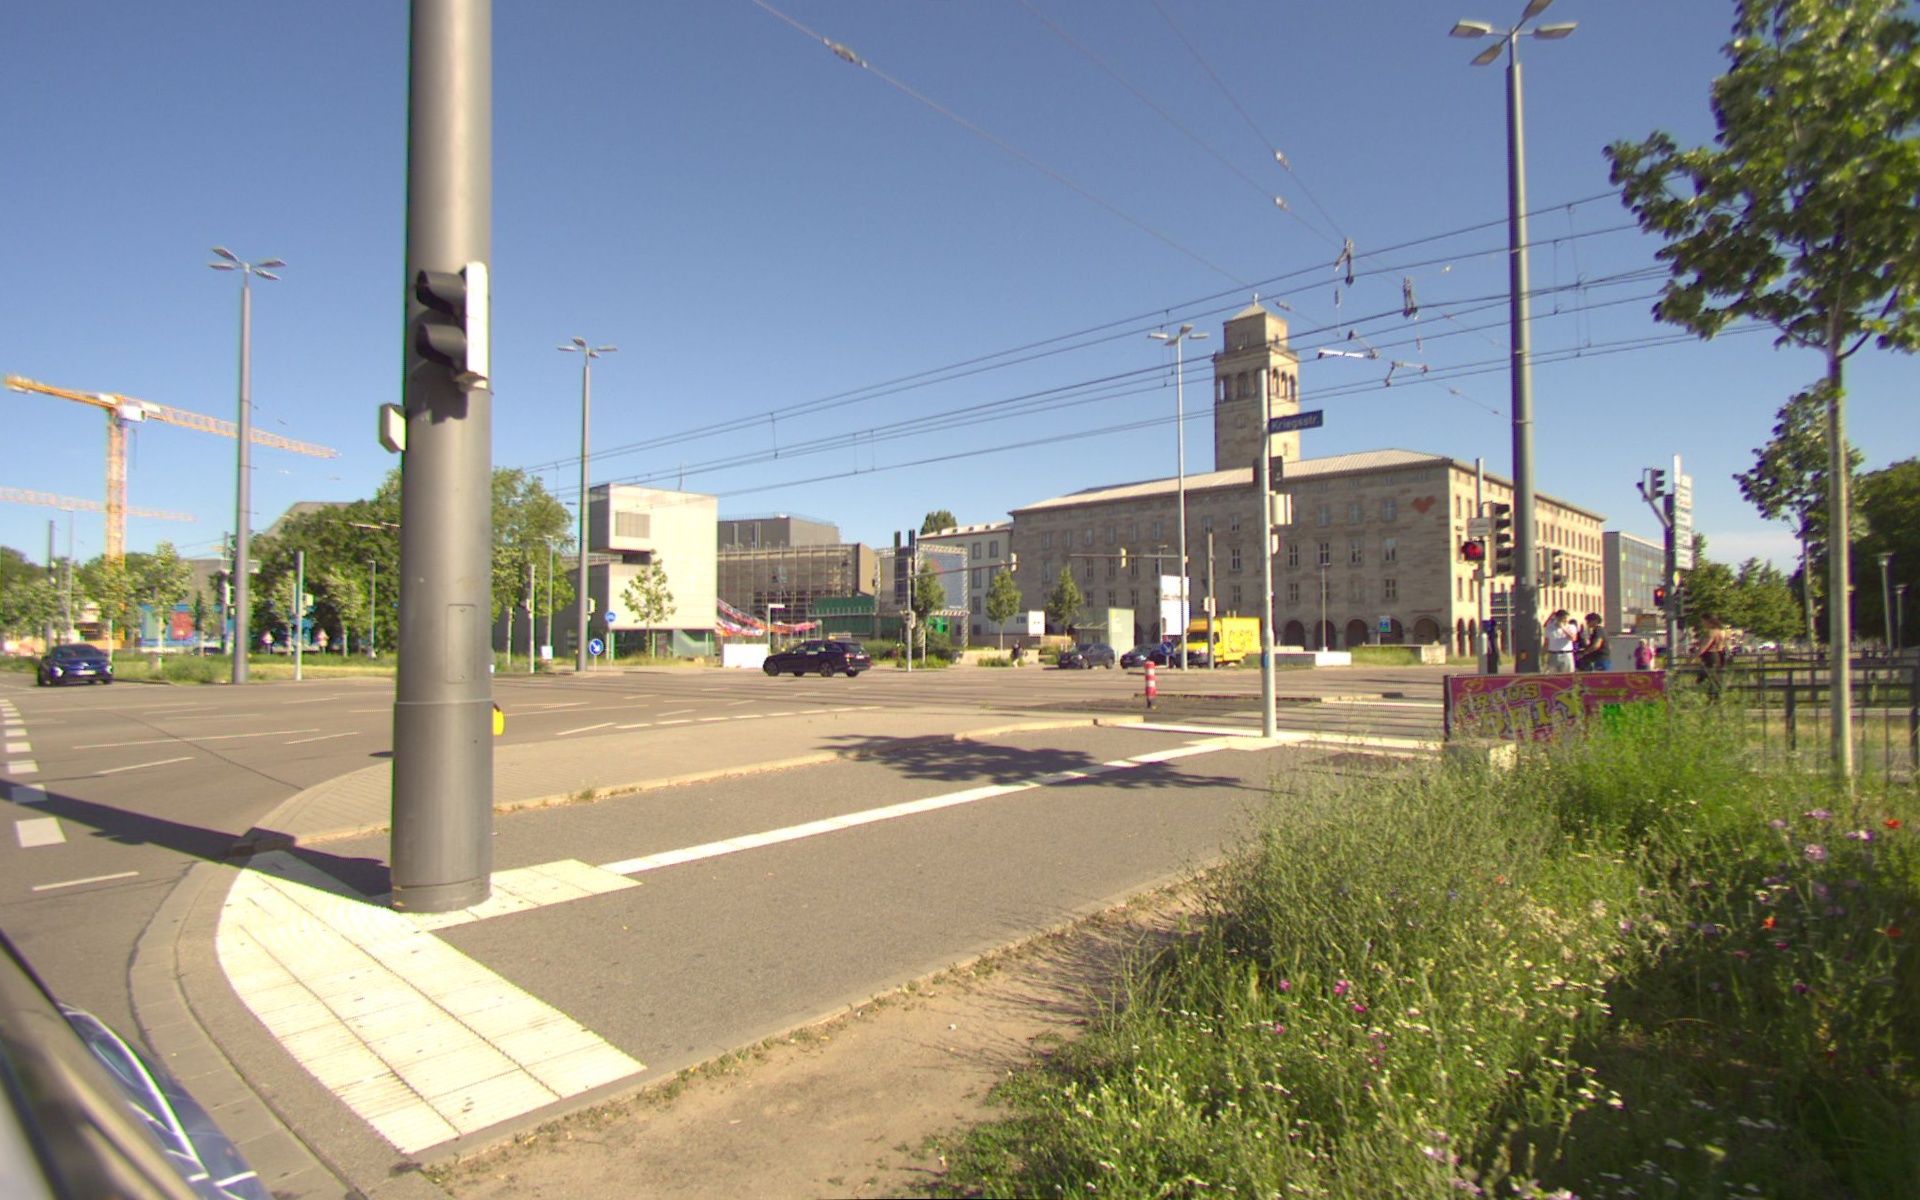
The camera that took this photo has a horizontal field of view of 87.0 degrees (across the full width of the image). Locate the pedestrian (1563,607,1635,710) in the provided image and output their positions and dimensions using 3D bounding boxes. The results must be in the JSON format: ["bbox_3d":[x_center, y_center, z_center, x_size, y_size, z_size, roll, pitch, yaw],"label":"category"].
[{"bbox_3d":[11.736,1.066,18.592,0.975,1.837,0.792,-3,-4,38],"label":"pedestrian"}]

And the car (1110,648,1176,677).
[{"bbox_3d":[10.751,3.637,59.271,3.940,1.551,1.905,2,-4,-44],"label":"car"}]

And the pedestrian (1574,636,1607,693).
[{"bbox_3d":[20.824,2.126,33.451,0.588,1.837,0.700,-1,-3,3],"label":"pedestrian"}]

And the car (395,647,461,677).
[{"bbox_3d":[-32.380,3.758,61.551,4.557,1.720,1.973,-3,-3,41],"label":"car"}]

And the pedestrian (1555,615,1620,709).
[{"bbox_3d":[12.671,1.242,20.450,0.975,1.837,0.792,-3,-4,38],"label":"pedestrian"}]

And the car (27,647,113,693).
[{"bbox_3d":[-34.061,2.660,38.687,4.082,1.600,1.753,-3,-2,38],"label":"car"}]

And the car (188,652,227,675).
[{"bbox_3d":[-66.055,5.592,88.830,3.997,1.970,1.851,-3,-4,41],"label":"car"}]

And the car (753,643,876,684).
[{"bbox_3d":[-5.984,2.574,41.348,4.811,1.573,1.979,-2,-3,30],"label":"car"}]

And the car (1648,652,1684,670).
[{"bbox_3d":[66.367,5.752,95.126,3.940,1.614,2.001,2,-4,-44],"label":"car"}]

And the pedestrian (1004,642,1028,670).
[{"bbox_3d":[3.536,3.540,63.780,0.947,1.699,1.179,-5,-4,41],"label":"pedestrian"}]

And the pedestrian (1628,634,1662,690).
[{"bbox_3d":[22.829,2.066,33.758,0.588,1.837,0.700,-1,-3,3],"label":"pedestrian"}]

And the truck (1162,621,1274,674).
[{"bbox_3d":[14.854,2.684,57.907,7.914,2.814,2.464,2,-4,-45],"label":"truck"}]

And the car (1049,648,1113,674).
[{"bbox_3d":[7.536,3.767,62.816,3.940,1.551,1.905,2,-4,-44],"label":"car"}]

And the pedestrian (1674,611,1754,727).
[{"bbox_3d":[12.444,1.123,16.715,0.975,1.837,0.792,-3,-4,38],"label":"pedestrian"}]

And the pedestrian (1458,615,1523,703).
[{"bbox_3d":[11.480,1.269,21.922,0.789,1.837,0.884,0,-3,-17],"label":"pedestrian"}]

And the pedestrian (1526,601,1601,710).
[{"bbox_3d":[10.567,0.962,17.728,0.975,1.837,0.792,-3,-4,38],"label":"pedestrian"}]
